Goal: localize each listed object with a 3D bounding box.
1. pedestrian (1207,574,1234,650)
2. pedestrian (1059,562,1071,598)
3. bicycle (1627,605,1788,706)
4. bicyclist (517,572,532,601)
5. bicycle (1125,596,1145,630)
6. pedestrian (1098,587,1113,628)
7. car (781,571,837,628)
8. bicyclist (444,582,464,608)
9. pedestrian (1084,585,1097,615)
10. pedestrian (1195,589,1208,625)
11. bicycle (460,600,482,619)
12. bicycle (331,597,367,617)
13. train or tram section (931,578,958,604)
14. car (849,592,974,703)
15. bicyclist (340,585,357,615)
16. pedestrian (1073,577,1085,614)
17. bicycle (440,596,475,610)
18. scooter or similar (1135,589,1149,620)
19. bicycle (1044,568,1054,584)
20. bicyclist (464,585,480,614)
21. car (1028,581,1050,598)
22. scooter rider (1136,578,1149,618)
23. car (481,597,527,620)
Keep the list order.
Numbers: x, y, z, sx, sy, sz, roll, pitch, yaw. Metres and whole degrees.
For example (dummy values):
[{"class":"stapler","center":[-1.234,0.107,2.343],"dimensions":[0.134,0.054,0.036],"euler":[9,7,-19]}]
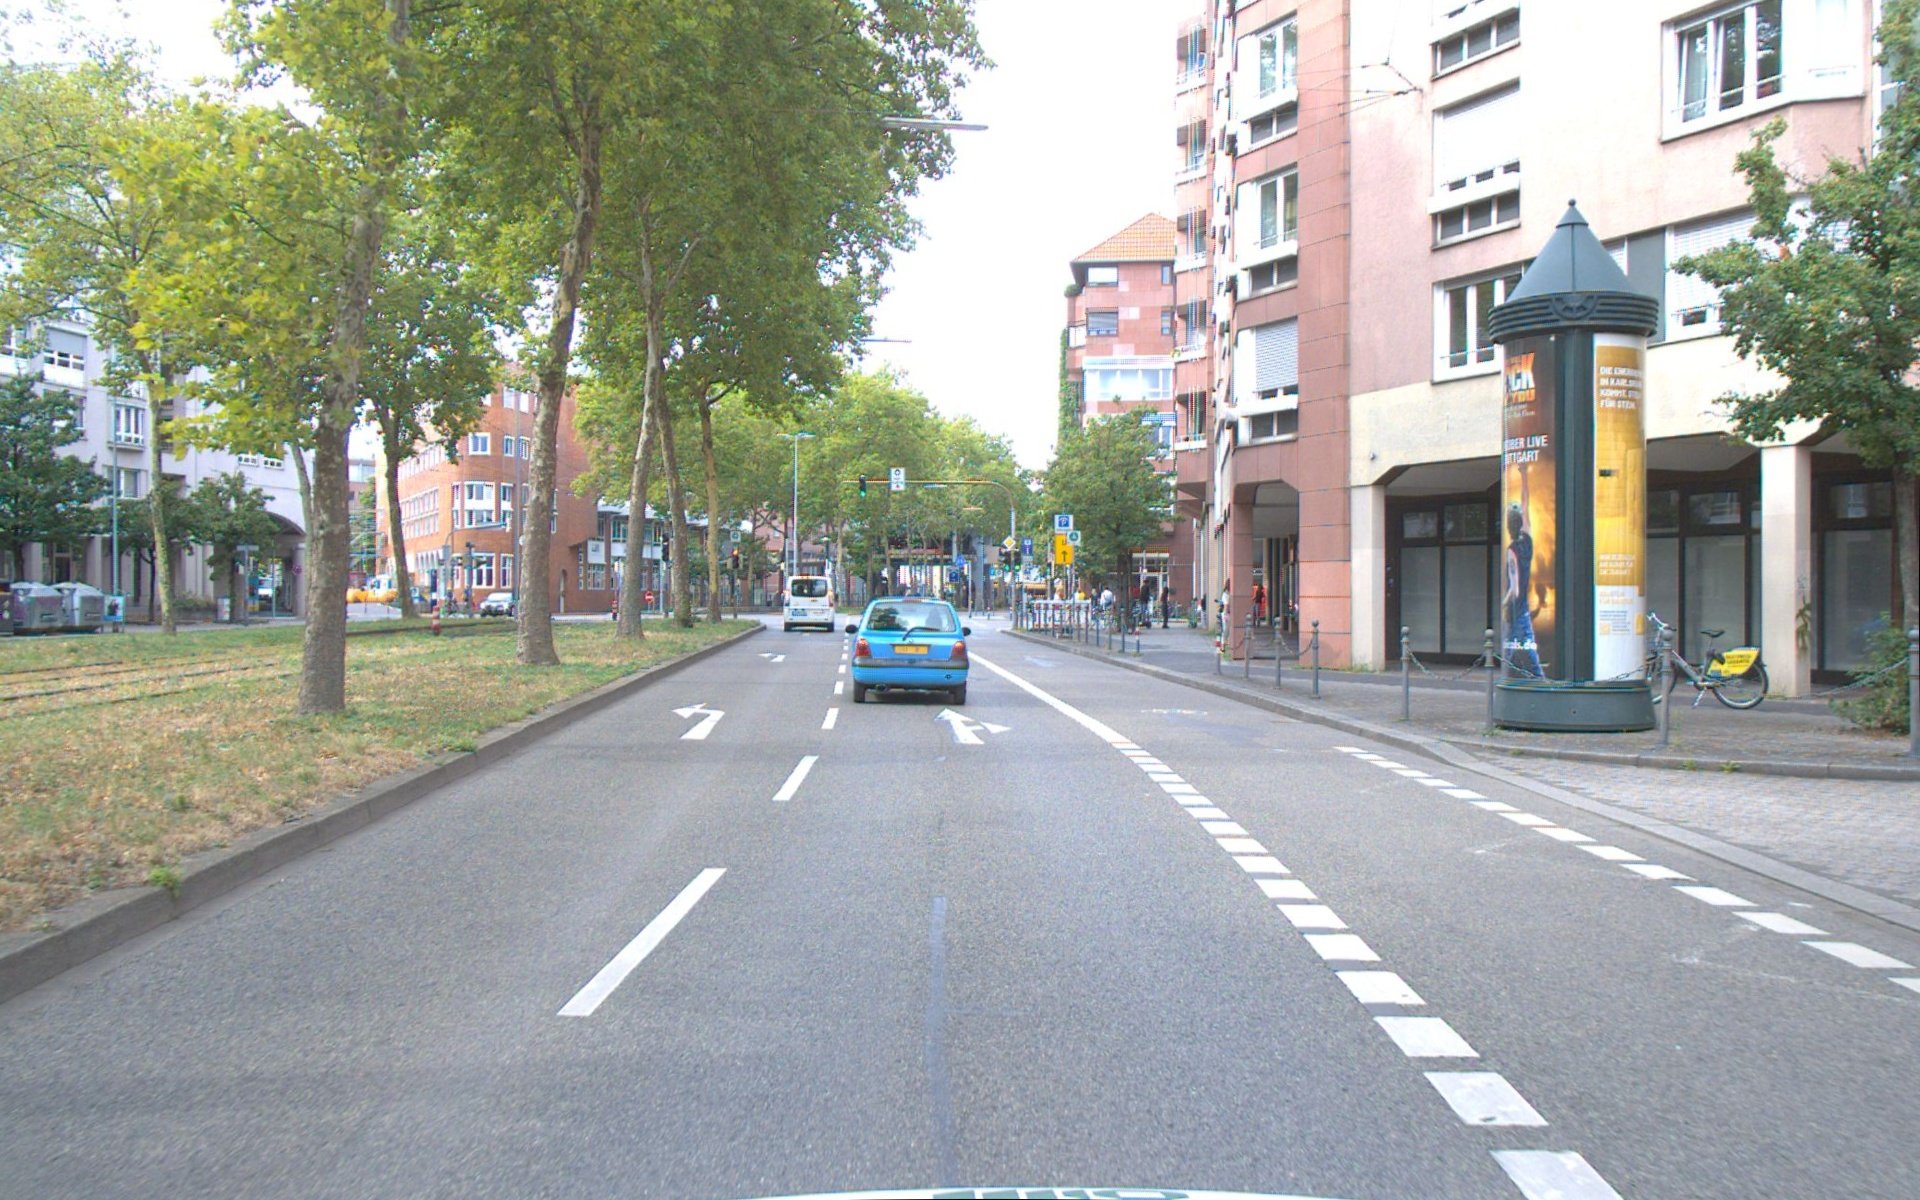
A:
[{"class":"pedestrian","center":[5.837,0.262,37.049],"dimensions":[0.532,1.678,0.826],"euler":[0,0,12]},{"class":"pedestrian","center":[4.751,-0.908,75.005],"dimensions":[0.506,1.644,0.851],"euler":[0,0,1]},{"class":"bicycle","center":[8.897,0.641,19.717],"dimensions":[1.633,1.148,0.667],"euler":[-1,0,38]},{"class":"bicyclist","center":[-28.742,-0.911,109.256],"dimensions":[0.653,1.880,1.081],"euler":[-1,0,1]},{"class":"bicycle","center":[5.896,0.426,55.691],"dimensions":[0.599,1.137,1.805],"euler":[0,0,4]},{"class":"pedestrian","center":[6.652,0.343,75.599],"dimensions":[0.662,1.860,0.851],"euler":[0,0,3]},{"class":"car","center":[-5.465,-0.052,60.302],"dimensions":[1.893,1.959,4.952],"euler":[0,1,-4]},{"class":"bicyclist","center":[-30.562,-0.291,99.885],"dimensions":[1.024,1.590,0.574],"euler":[0,0,-41]},{"class":"pedestrian","center":[6.816,-0.008,86.110],"dimensions":[0.661,1.565,0.947],"euler":[0,0,4]},{"class":"pedestrian","center":[9.119,0.248,62.408],"dimensions":[0.476,1.347,0.485],"euler":[0,0,10]},{"class":"bicycle","center":[-29.151,0.538,98.603],"dimensions":[0.676,1.111,1.878],"euler":[0,0,3]},{"class":"bicycle","center":[-34.814,0.403,94.310],"dimensions":[1.860,1.111,0.569],"euler":[0,0,-41]},{"class":"train or tram section","center":[-1.984,-1.126,214.824],"dimensions":[2.338,3.310,8.825],"euler":[0,0,7]},{"class":"car","center":[-0.725,0.607,23.379],"dimensions":[1.608,1.410,3.841],"euler":[1,1,-3]},{"class":"bicyclist","center":[-34.853,0.024,94.279],"dimensions":[0.777,1.702,0.565],"euler":[0,0,-40]},{"class":"pedestrian","center":[5.352,-0.206,74.602],"dimensions":[0.506,1.644,0.851],"euler":[0,0,3]},{"class":"bicycle","center":[-30.384,0.159,100.011],"dimensions":[1.969,0.850,0.570],"euler":[0,0,-41]},{"class":"scooter or similar","center":[7.323,0.170,66.669],"dimensions":[0.464,1.227,1.331],"euler":[0,0,2]},{"class":"bicycle","center":[5.729,-1.554,106.992],"dimensions":[0.604,1.026,1.736],"euler":[0,0,2]},{"class":"bicyclist","center":[-29.138,-0.046,98.781],"dimensions":[0.675,1.702,0.953],"euler":[0,0,2]},{"class":"car","center":[7.529,-1.001,157.564],"dimensions":[1.662,1.629,4.003],"euler":[0,1,8]},{"class":"scooter rider","center":[7.317,-0.083,66.385],"dimensions":[0.451,1.584,0.565],"euler":[0,0,1]},{"class":"car","center":[-26.098,0.487,94.755],"dimensions":[1.695,1.267,4.531],"euler":[0,0,-4]}]
